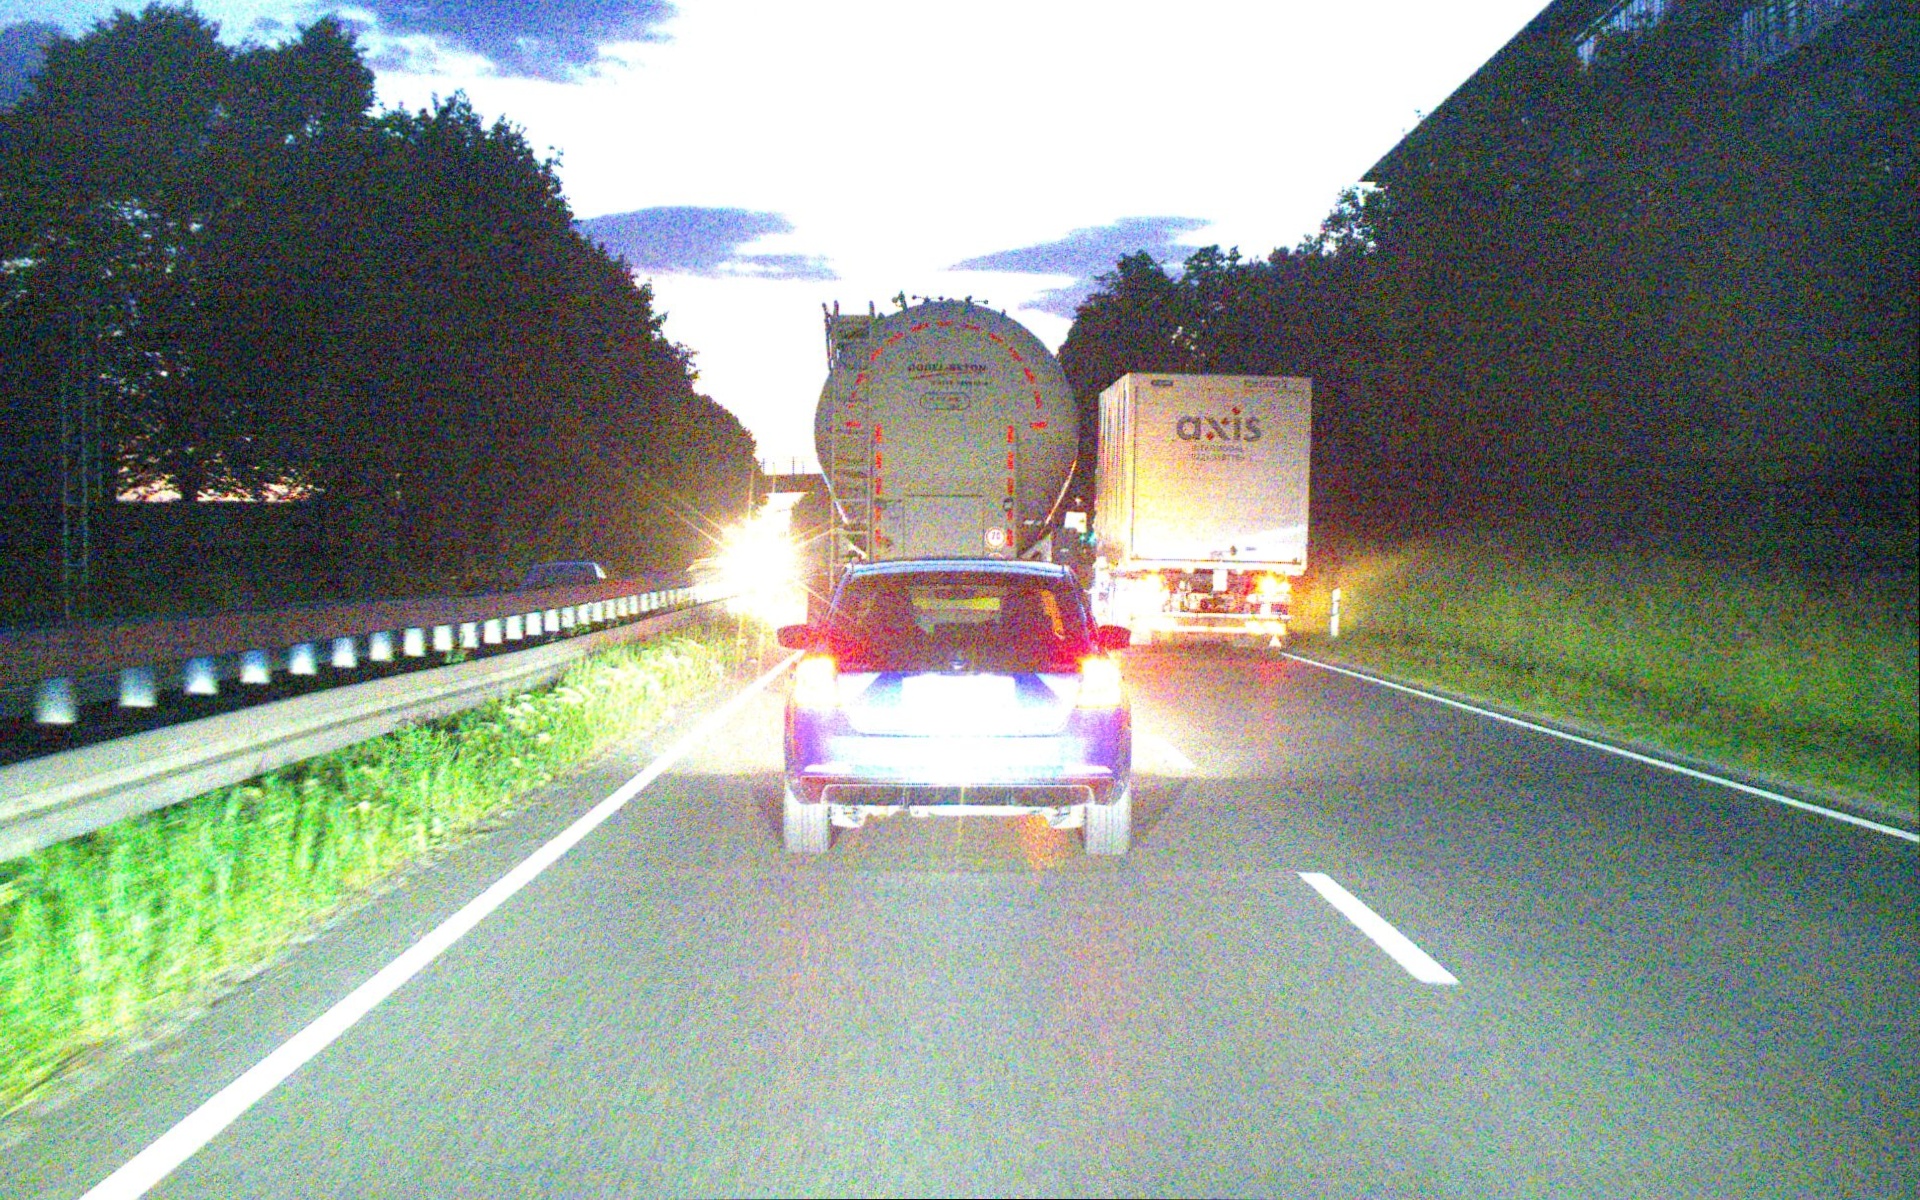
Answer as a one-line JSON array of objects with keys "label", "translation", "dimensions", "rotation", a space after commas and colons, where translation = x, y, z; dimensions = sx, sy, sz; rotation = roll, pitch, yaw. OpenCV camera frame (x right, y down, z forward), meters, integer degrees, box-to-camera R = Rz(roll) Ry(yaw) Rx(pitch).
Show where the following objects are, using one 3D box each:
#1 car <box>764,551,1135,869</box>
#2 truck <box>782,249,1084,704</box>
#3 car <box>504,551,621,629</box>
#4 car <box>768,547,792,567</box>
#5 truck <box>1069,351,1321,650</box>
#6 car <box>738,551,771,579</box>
[{"label": "car", "translation": [-0.069, 0.490, 17.830], "dimensions": [1.695, 1.447, 3.914], "rotation": [1, 1, -1]}, {"label": "truck", "translation": [-0.320, -1.187, 37.776], "dimensions": [2.687, 4.092, 13.142], "rotation": [1, 1, -1]}, {"label": "car", "translation": [-7.505, -0.210, 65.246], "dimensions": [1.720, 1.402, 4.575], "rotation": [1, 1, -1]}, {"label": "car", "translation": [-13.347, -3.191, 254.917], "dimensions": [1.617, 1.502, 3.869], "rotation": [1, 1, -1]}, {"label": "truck", "translation": [3.443, -1.438, 53.833], "dimensions": [2.883, 4.092, 12.684], "rotation": [1, 1, -1]}, {"label": "car", "translation": [-12.030, -2.069, 201.205], "dimensions": [1.682, 1.582, 4.167], "rotation": [1, 1, -1]}]
